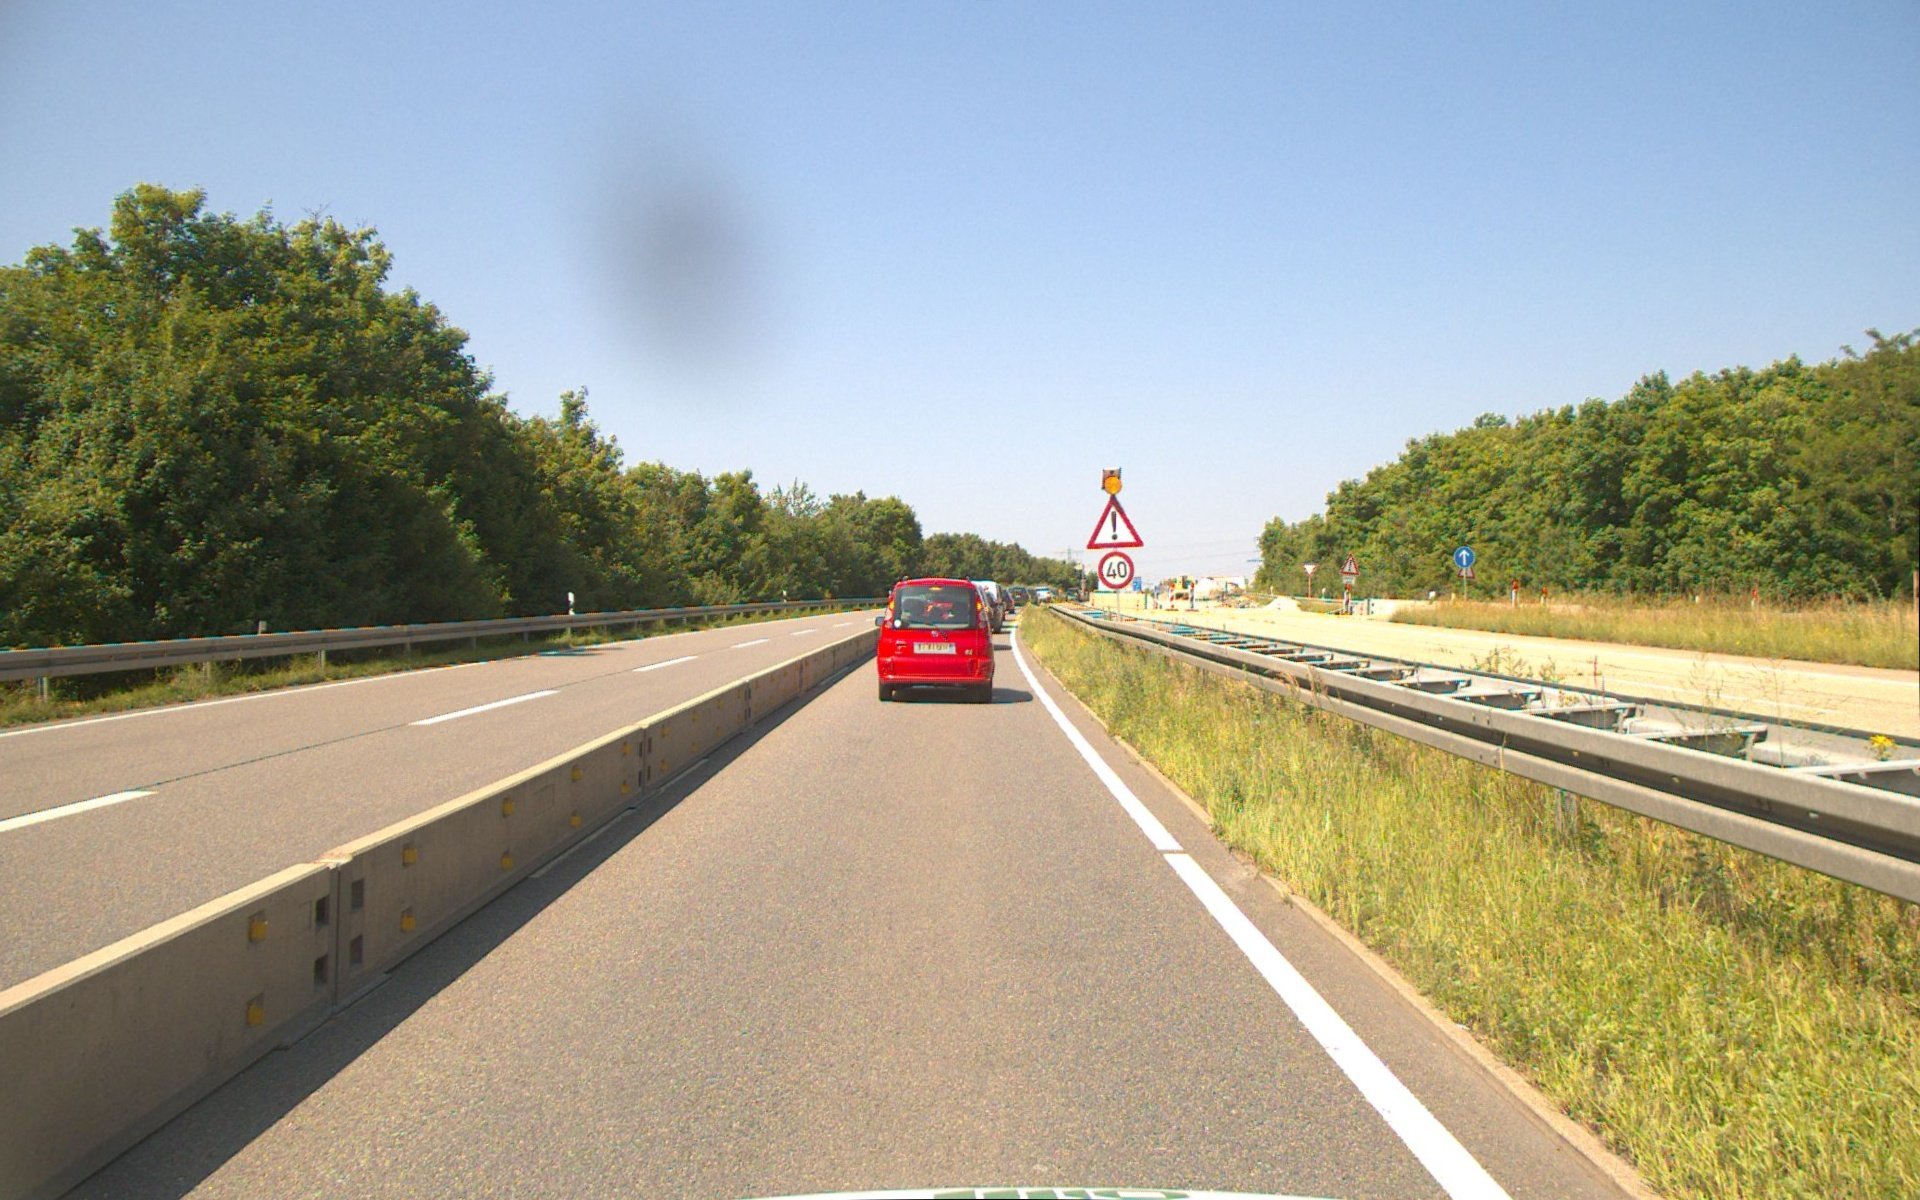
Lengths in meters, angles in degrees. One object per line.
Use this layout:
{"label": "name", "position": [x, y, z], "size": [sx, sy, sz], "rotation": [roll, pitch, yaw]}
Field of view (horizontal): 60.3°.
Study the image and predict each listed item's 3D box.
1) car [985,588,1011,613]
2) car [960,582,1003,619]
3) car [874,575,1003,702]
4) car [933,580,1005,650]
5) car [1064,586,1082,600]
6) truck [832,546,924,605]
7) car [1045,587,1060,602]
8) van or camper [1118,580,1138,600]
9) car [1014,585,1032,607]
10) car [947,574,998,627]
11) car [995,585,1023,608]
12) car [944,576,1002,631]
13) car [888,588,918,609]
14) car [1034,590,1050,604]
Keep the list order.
{"label": "car", "position": [2.230, 0.015, 97.078], "size": [1.470, 1.476, 3.326], "rotation": [0, 0, 2]}
{"label": "car", "position": [1.045, 0.022, 80.944], "size": [1.953, 1.780, 3.999], "rotation": [0, 0, -2]}
{"label": "car", "position": [-0.350, 0.505, 24.261], "size": [1.716, 1.702, 3.999], "rotation": [0, 0, -2]}
{"label": "car", "position": [0.224, 0.373, 43.603], "size": [1.793, 1.752, 4.000], "rotation": [0, 0, 0]}
{"label": "car", "position": [13.088, -0.820, 192.281], "size": [1.952, 1.579, 4.001], "rotation": [0, 0, 2]}
{"label": "truck", "position": [-7.855, -2.347, 158.802], "size": [8.440, 5.469, 3.390], "rotation": [-1, 0, 3]}
{"label": "car", "position": [9.442, -0.581, 168.303], "size": [1.470, 1.476, 3.172], "rotation": [-1, 0, 4]}
{"label": "van or camper", "position": [24.173, -1.443, 237.881], "size": [2.280, 2.754, 4.593], "rotation": [0, 0, 0]}
{"label": "car", "position": [5.168, -0.365, 136.459], "size": [1.470, 1.767, 3.171], "rotation": [0, 0, 2]}
{"label": "car", "position": [0.483, 0.007, 67.369], "size": [1.953, 2.038, 3.999], "rotation": [1, 0, -1]}
{"label": "car", "position": [3.584, -0.249, 120.360], "size": [1.952, 1.612, 4.001], "rotation": [0, 0, 2]}
{"label": "car", "position": [0.450, 0.127, 57.964], "size": [1.952, 1.870, 4.000], "rotation": [0, 0, 1]}
{"label": "car", "position": [-4.033, -0.148, 118.061], "size": [1.908, 1.446, 4.353], "rotation": [-1, 0, 1]}
{"label": "car", "position": [7.557, -0.303, 152.393], "size": [1.391, 1.321, 2.880], "rotation": [0, 0, 4]}
